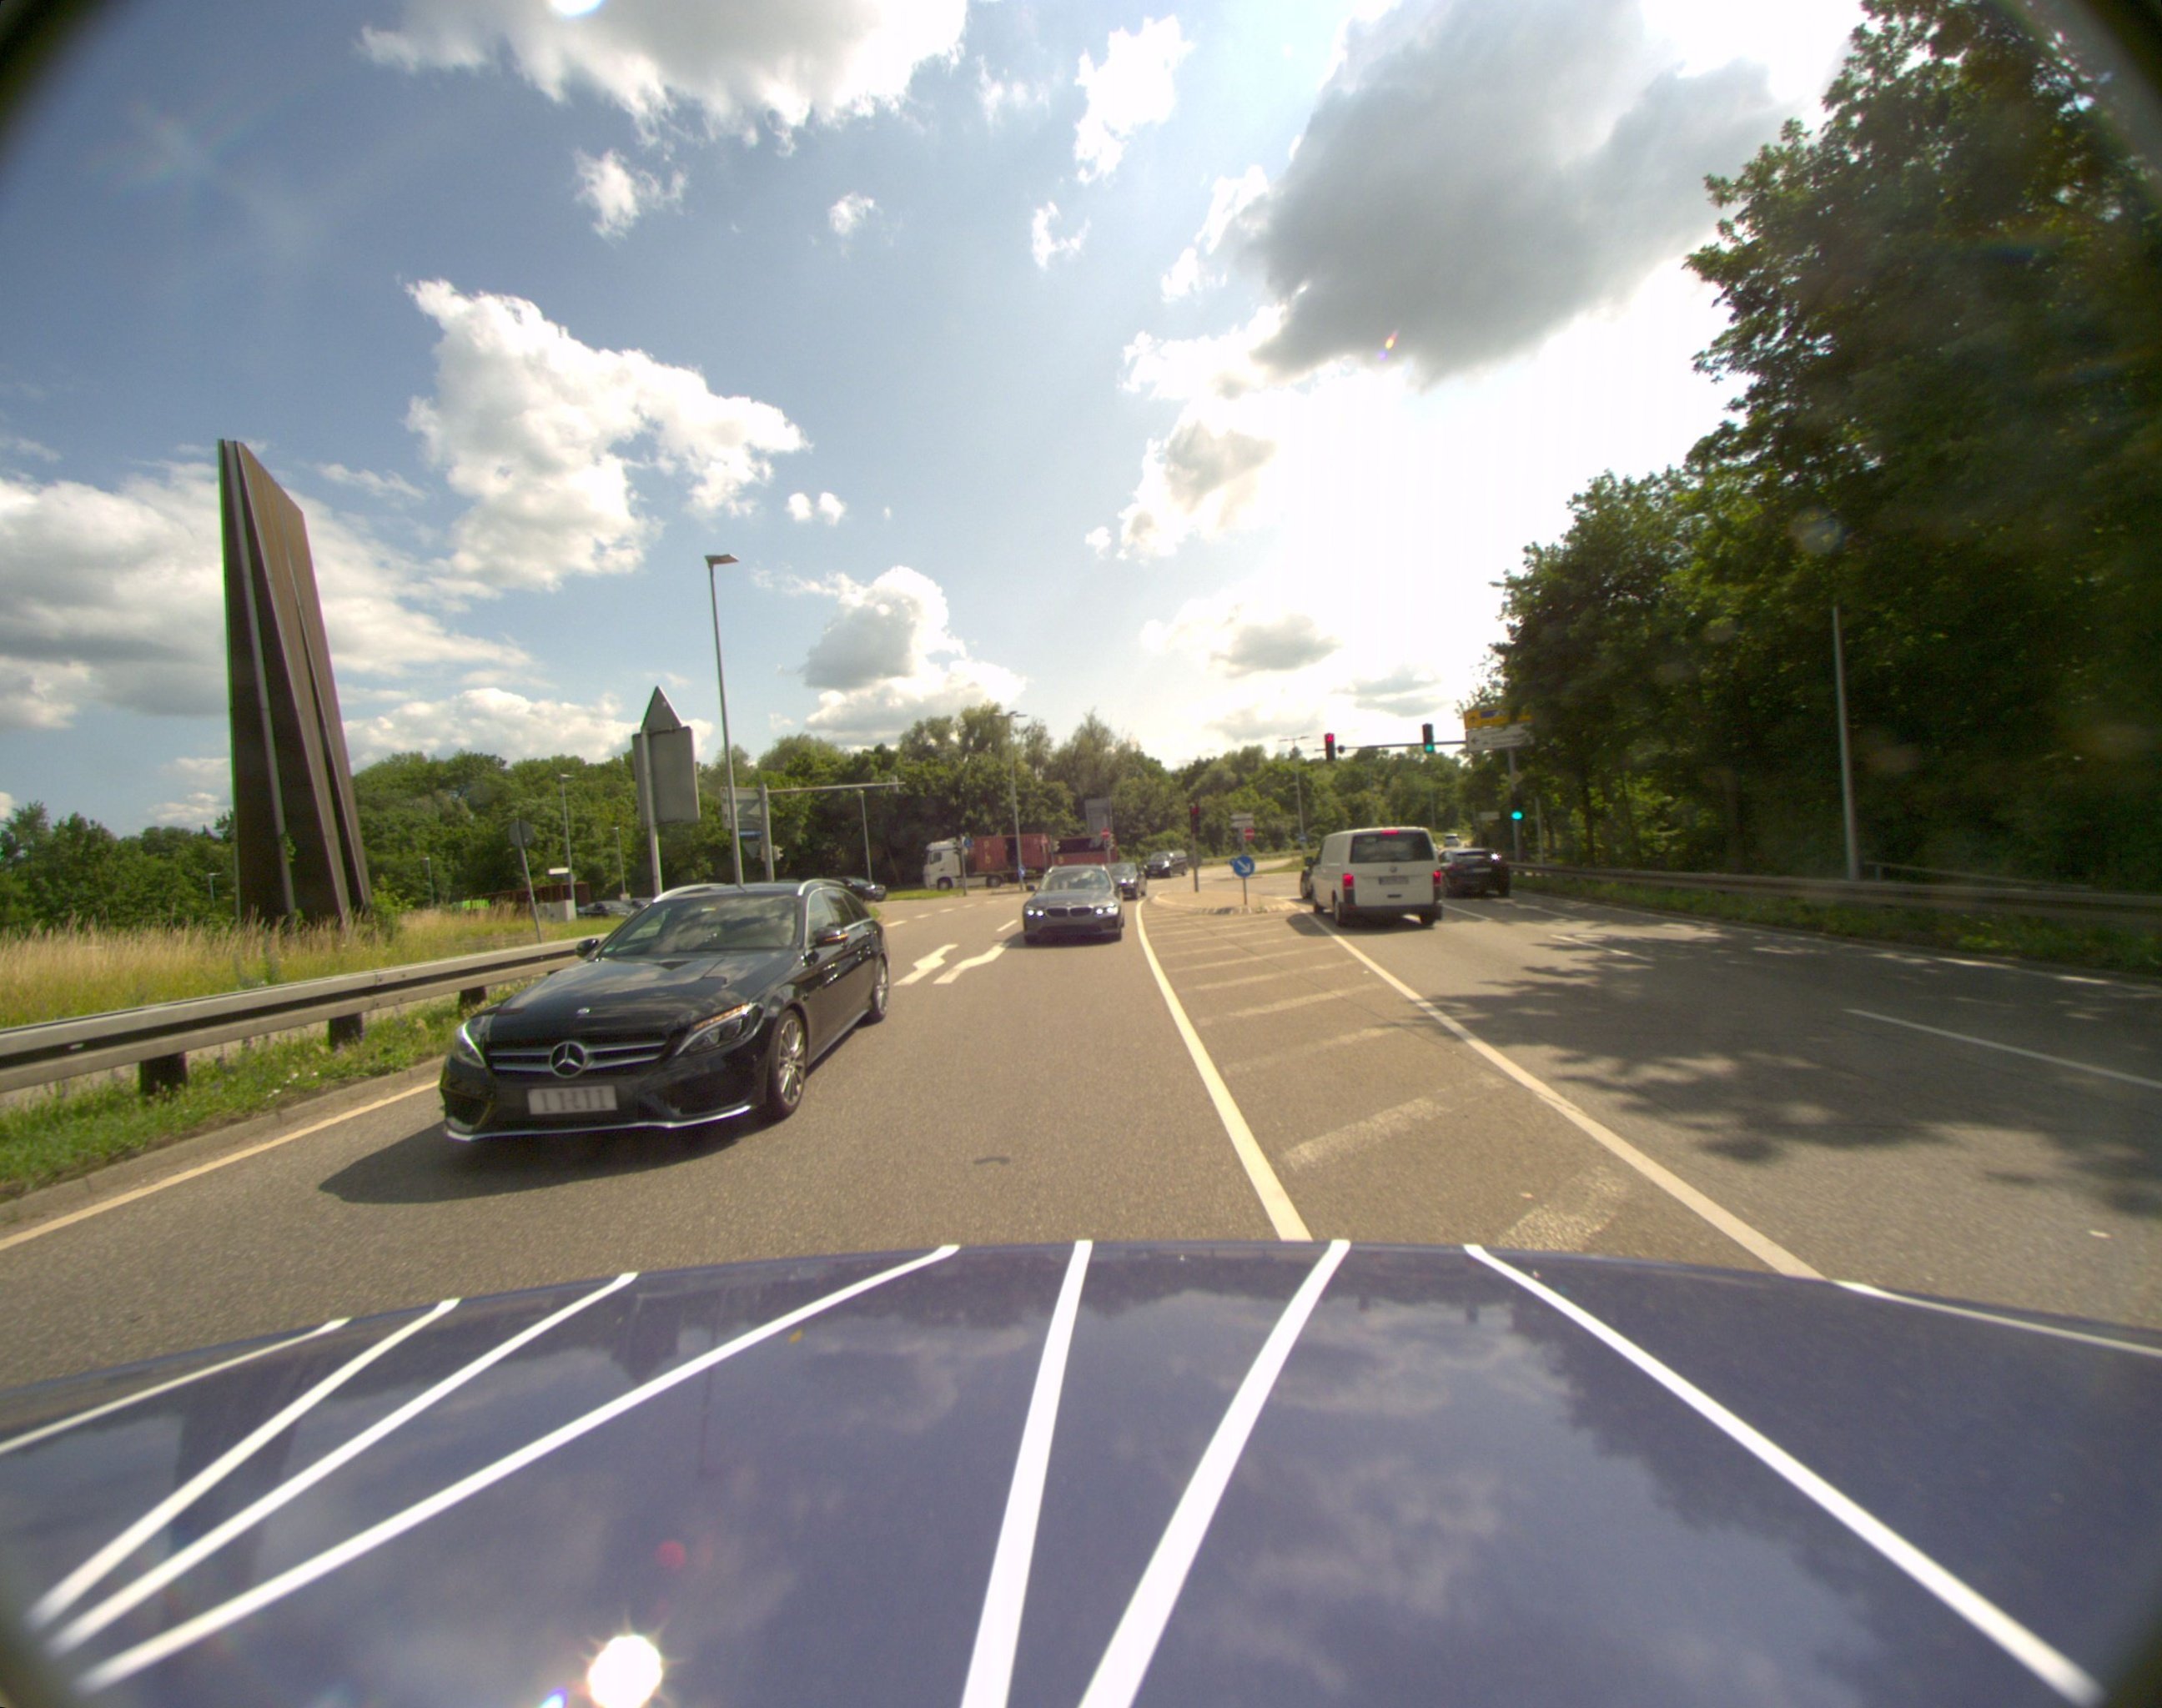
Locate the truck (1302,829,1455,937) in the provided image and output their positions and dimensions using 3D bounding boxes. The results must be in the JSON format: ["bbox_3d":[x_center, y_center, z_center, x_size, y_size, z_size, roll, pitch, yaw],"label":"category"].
[{"bbox_3d":[6.231,0.530,16.654,1.964,1.902,5.374,-3,0,9],"label":"truck"}]

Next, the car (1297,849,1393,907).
[{"bbox_3d":[7.954,0.687,23.208,1.702,1.548,3.823,-3,0,3],"label":"car"}]

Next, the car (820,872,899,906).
[{"bbox_3d":[-12.960,2.033,44.333,4.285,1.607,1.848,-5,1,30],"label":"car"}]

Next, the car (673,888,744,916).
[{"bbox_3d":[-22.224,2.877,45.291,4.206,1.367,1.649,-5,-1,30],"label":"car"}]

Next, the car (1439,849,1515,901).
[{"bbox_3d":[12.113,0.585,23.440,1.636,1.401,4.345,-2,0,22],"label":"car"}]

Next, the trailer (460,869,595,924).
[{"bbox_3d":[-50.050,3.857,68.517,13.819,3.868,2.651,-5,0,21],"label":"trailer"}]

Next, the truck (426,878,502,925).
[{"bbox_3d":[-58.228,4.482,71.708,5.865,3.880,2.882,-6,-1,23],"label":"truck"}]

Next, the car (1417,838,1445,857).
[{"bbox_3d":[27.653,-0.524,59.989,1.683,1.469,4.721,-1,1,28],"label":"car"}]

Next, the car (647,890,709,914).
[{"bbox_3d":[-27.836,3.291,52.430,4.040,1.367,1.884,-5,-1,30],"label":"car"}]

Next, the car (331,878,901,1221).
[{"bbox_3d":[-2.798,1.032,5.939,1.795,1.427,4.368,-3,0,-2],"label":"car"}]

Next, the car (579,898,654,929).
[{"bbox_3d":[-26.892,3.440,43.946,3.991,1.455,1.870,-5,0,29],"label":"car"}]

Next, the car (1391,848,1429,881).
[{"bbox_3d":[15.891,0.460,36.843,1.524,1.475,3.828,-2,0,22],"label":"car"}]

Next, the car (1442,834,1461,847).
[{"bbox_3d":[46.214,-1.662,94.780,1.734,1.512,4.075,-1,1,32],"label":"car"}]

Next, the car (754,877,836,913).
[{"bbox_3d":[-15.627,2.239,41.454,4.206,1.635,1.841,-5,-1,30],"label":"car"}]

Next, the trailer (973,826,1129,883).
[{"bbox_3d":[-2.199,-0.043,60.636,12.337,3.827,2.774,-4,0,-30],"label":"trailer"}]

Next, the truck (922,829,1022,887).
[{"bbox_3d":[-8.239,0.307,57.322,6.825,3.822,2.774,-4,0,-21],"label":"truck"}]

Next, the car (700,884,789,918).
[{"bbox_3d":[-16.490,2.301,37.203,4.206,1.367,1.762,-5,-1,30],"label":"car"}]

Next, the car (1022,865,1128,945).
[{"bbox_3d":[0.004,1.021,16.587,1.857,1.354,4.001,-2,1,6],"label":"car"}]

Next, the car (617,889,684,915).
[{"bbox_3d":[-27.139,3.039,47.883,4.206,1.367,1.704,-5,-1,30],"label":"car"}]

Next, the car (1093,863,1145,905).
[{"bbox_3d":[1.558,1.124,30.160,1.858,1.402,4.001,-3,0,4],"label":"car"}]
